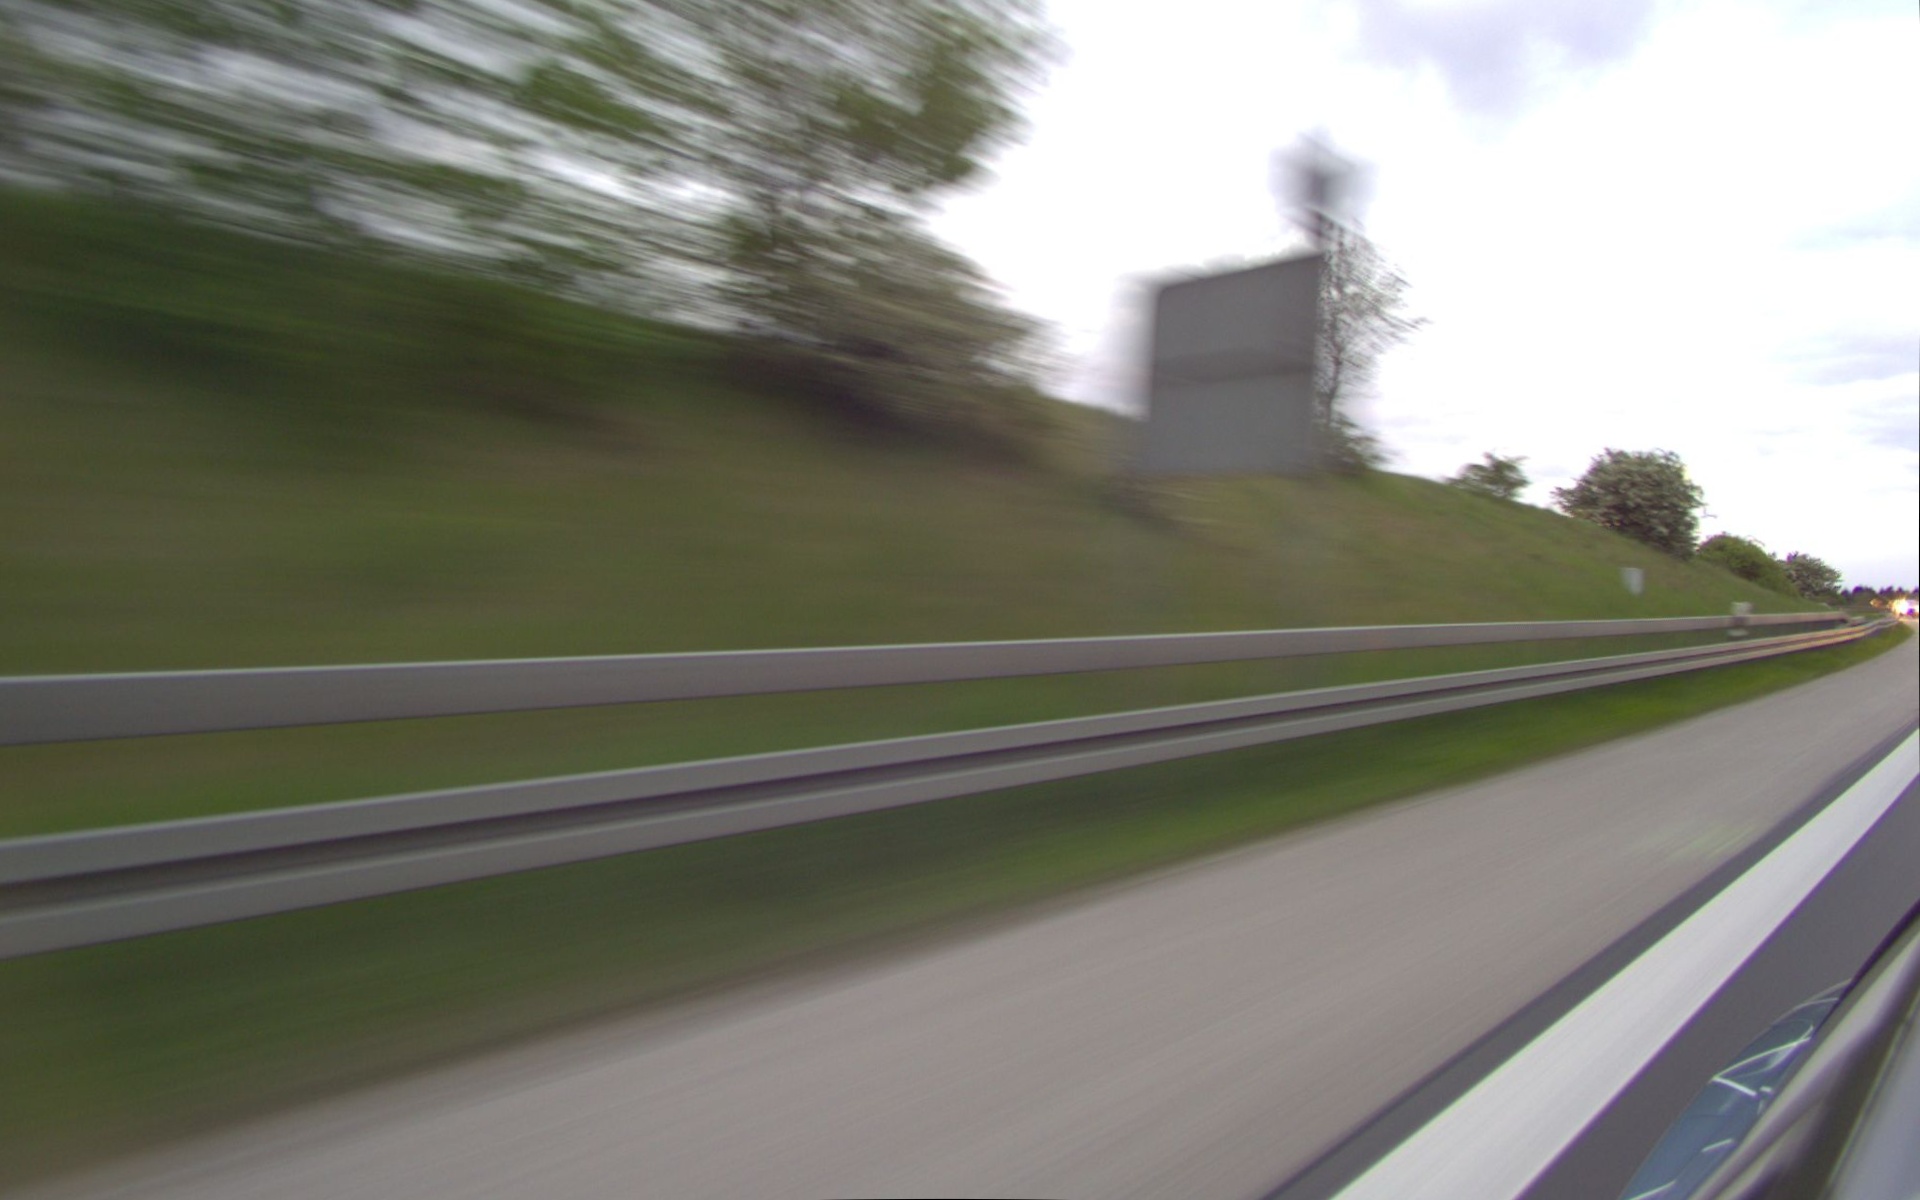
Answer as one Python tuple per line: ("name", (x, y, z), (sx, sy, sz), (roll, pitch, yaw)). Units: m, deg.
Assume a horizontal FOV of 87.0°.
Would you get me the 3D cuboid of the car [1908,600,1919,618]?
("car", (102.260, 1.013, 107.642), (1.914, 1.860, 3.938), (3, 1, 43))
